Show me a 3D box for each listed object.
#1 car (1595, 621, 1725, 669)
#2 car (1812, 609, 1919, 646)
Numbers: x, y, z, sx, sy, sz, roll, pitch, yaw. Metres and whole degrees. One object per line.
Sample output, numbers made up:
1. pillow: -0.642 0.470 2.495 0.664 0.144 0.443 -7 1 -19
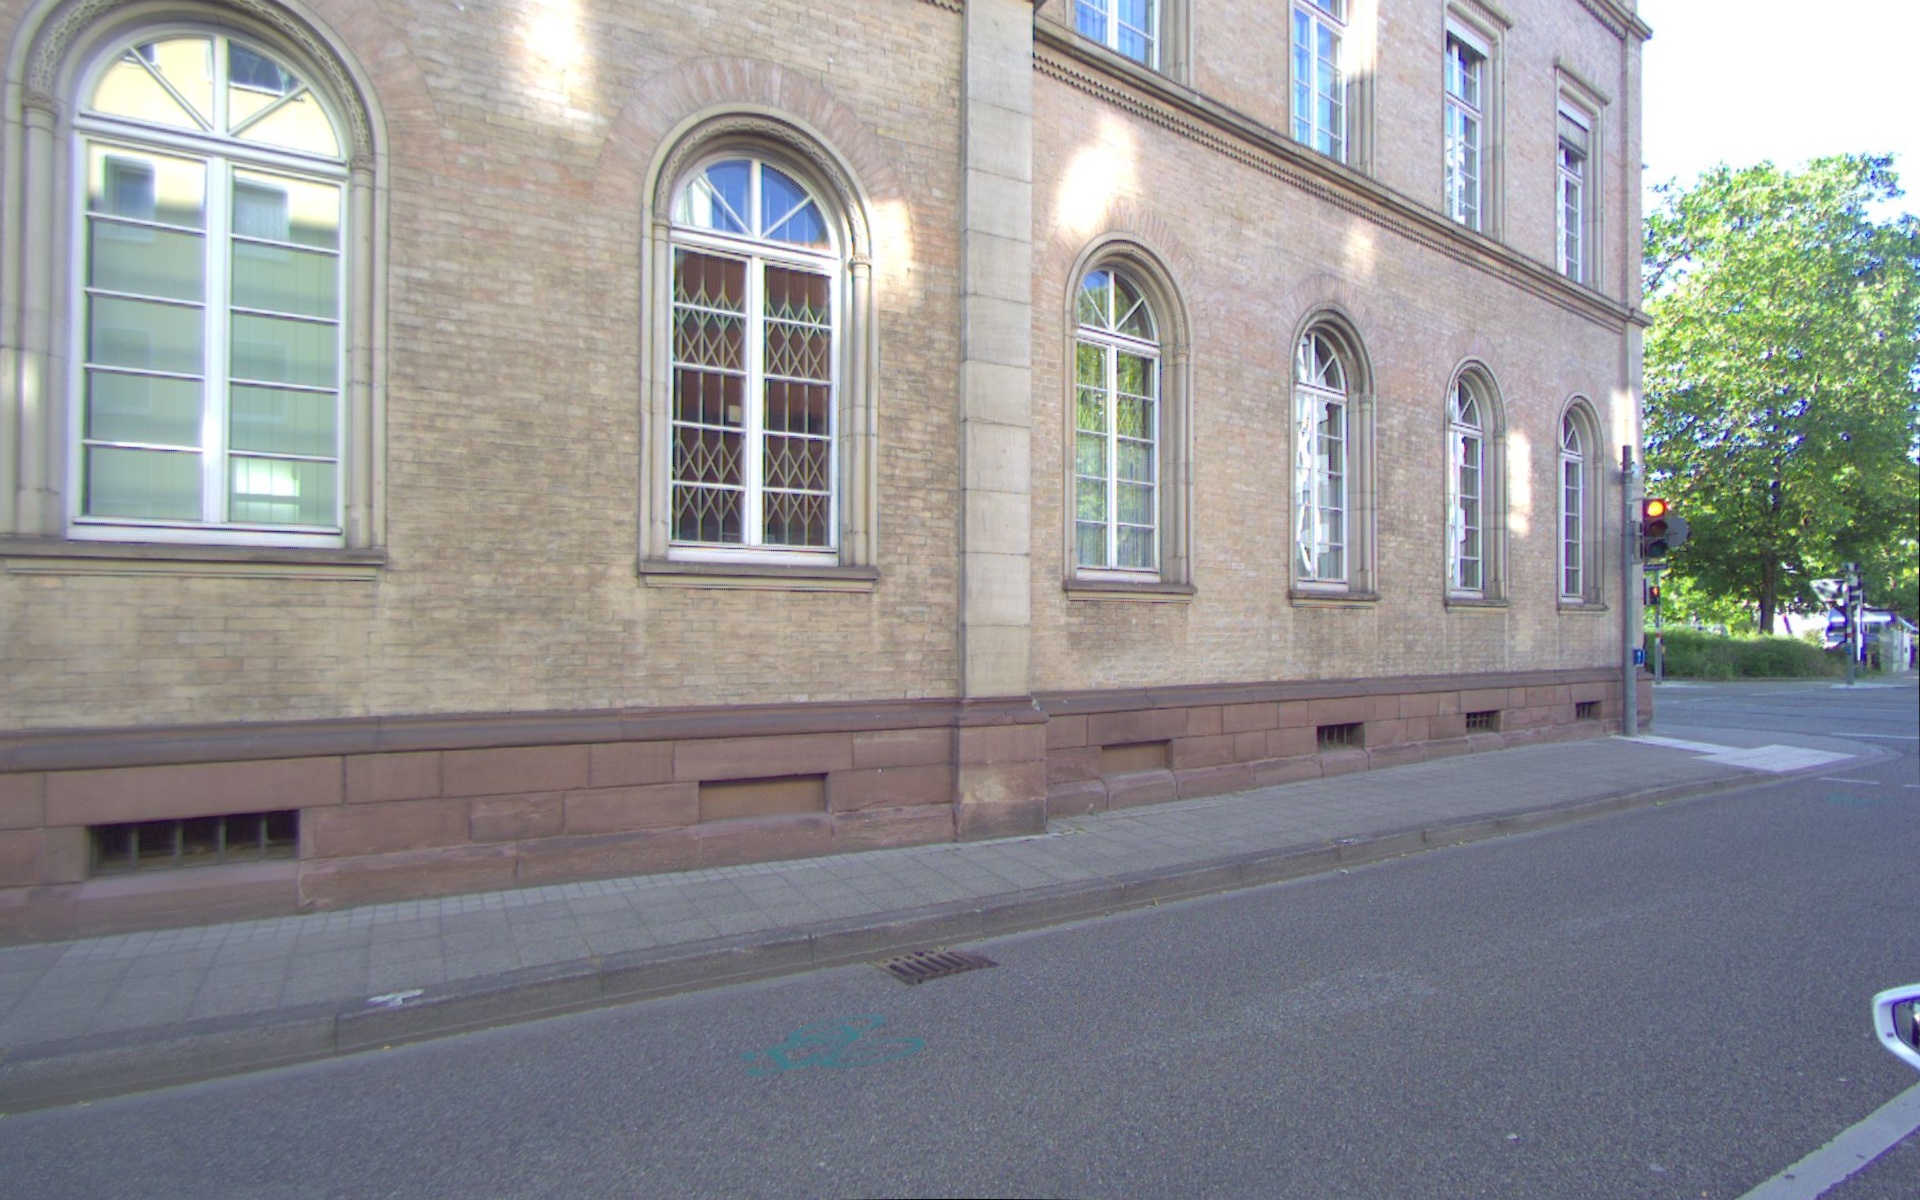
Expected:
1. car: 24.363 1.527 35.019 1.636 1.476 3.382 2 0 -39
2. car: 53.485 1.612 59.380 1.983 2.040 4.409 2 0 -38
